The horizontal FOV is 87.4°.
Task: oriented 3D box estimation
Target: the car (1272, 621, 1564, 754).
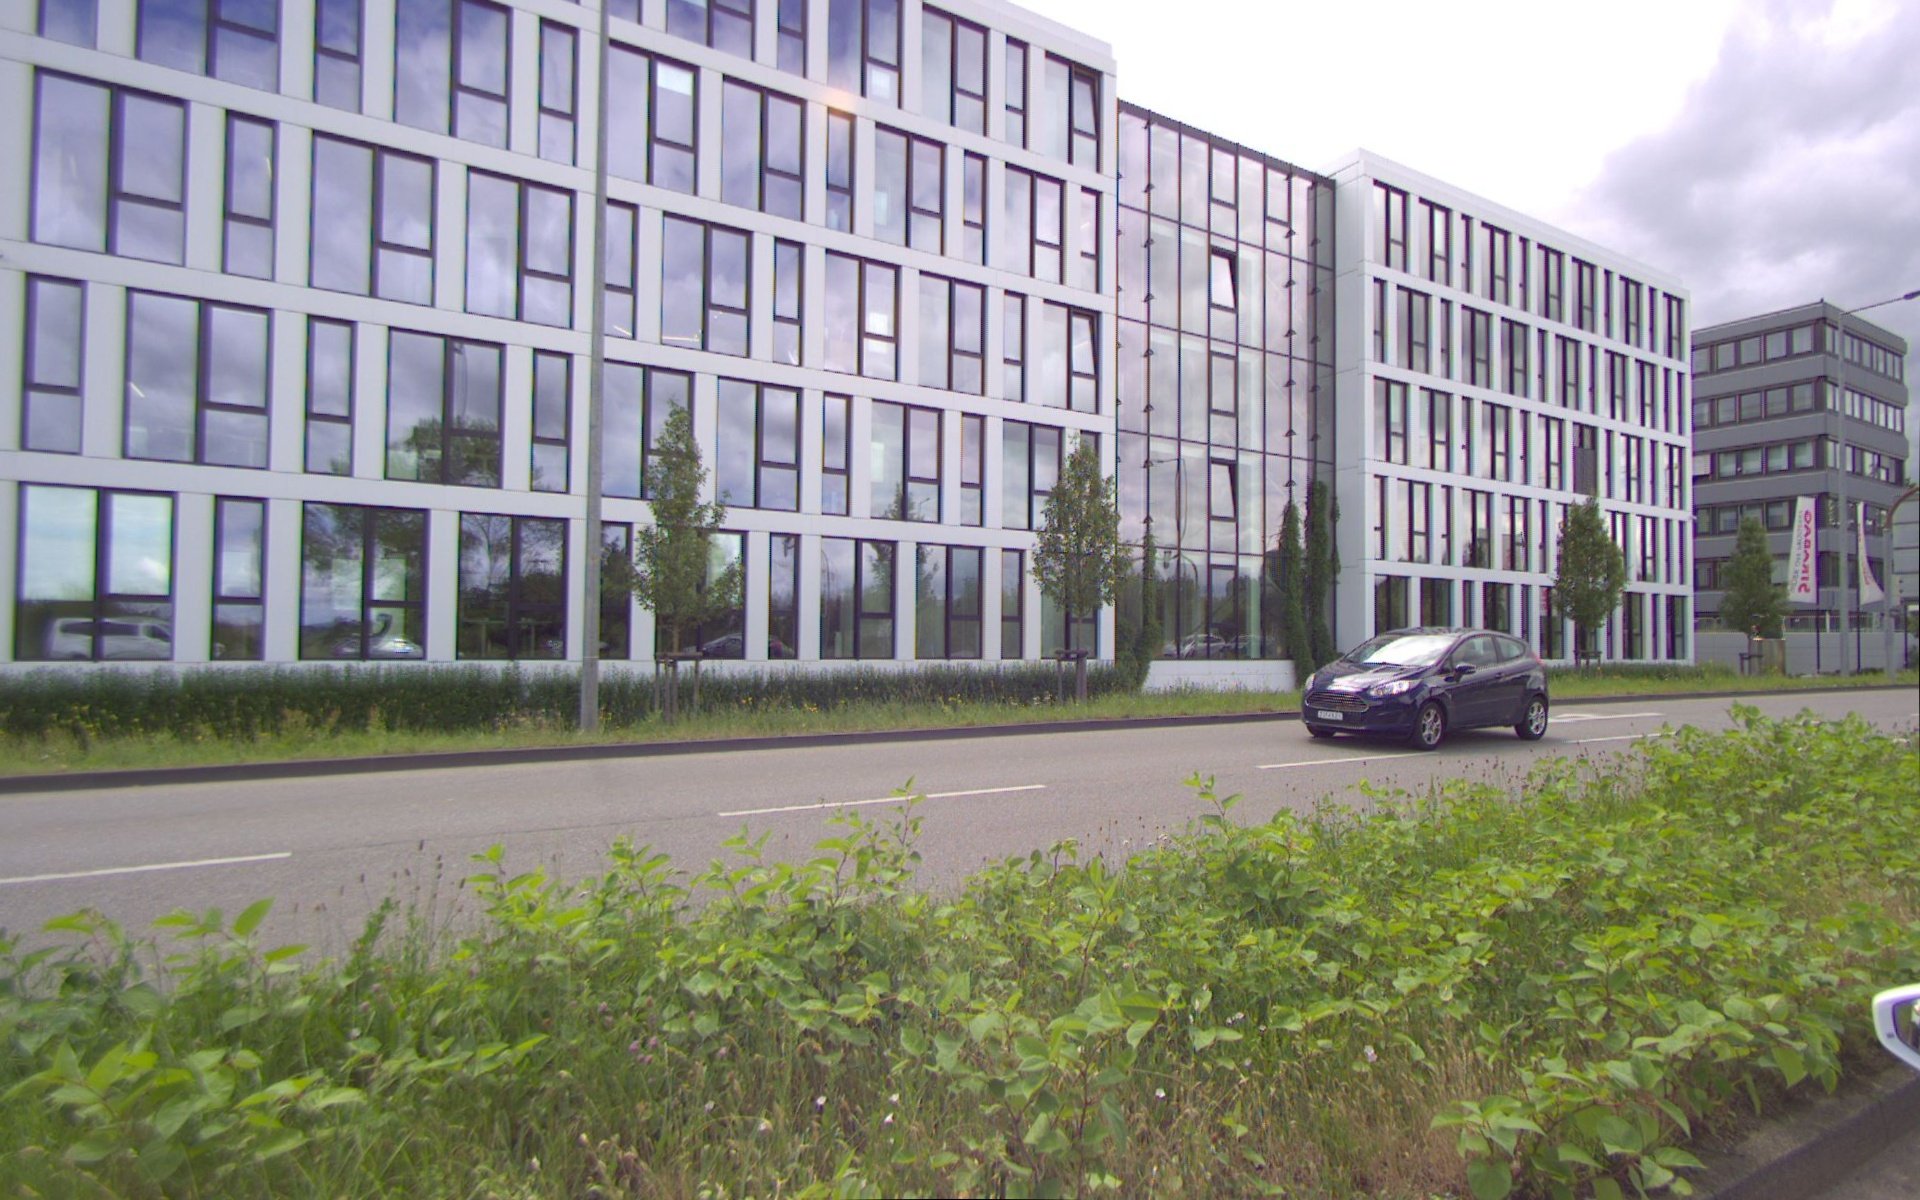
[{"bbox_3d":[6.106,1.078,13.277,3.851,1.465,1.743,2,0,-34],"label":"car"}]
